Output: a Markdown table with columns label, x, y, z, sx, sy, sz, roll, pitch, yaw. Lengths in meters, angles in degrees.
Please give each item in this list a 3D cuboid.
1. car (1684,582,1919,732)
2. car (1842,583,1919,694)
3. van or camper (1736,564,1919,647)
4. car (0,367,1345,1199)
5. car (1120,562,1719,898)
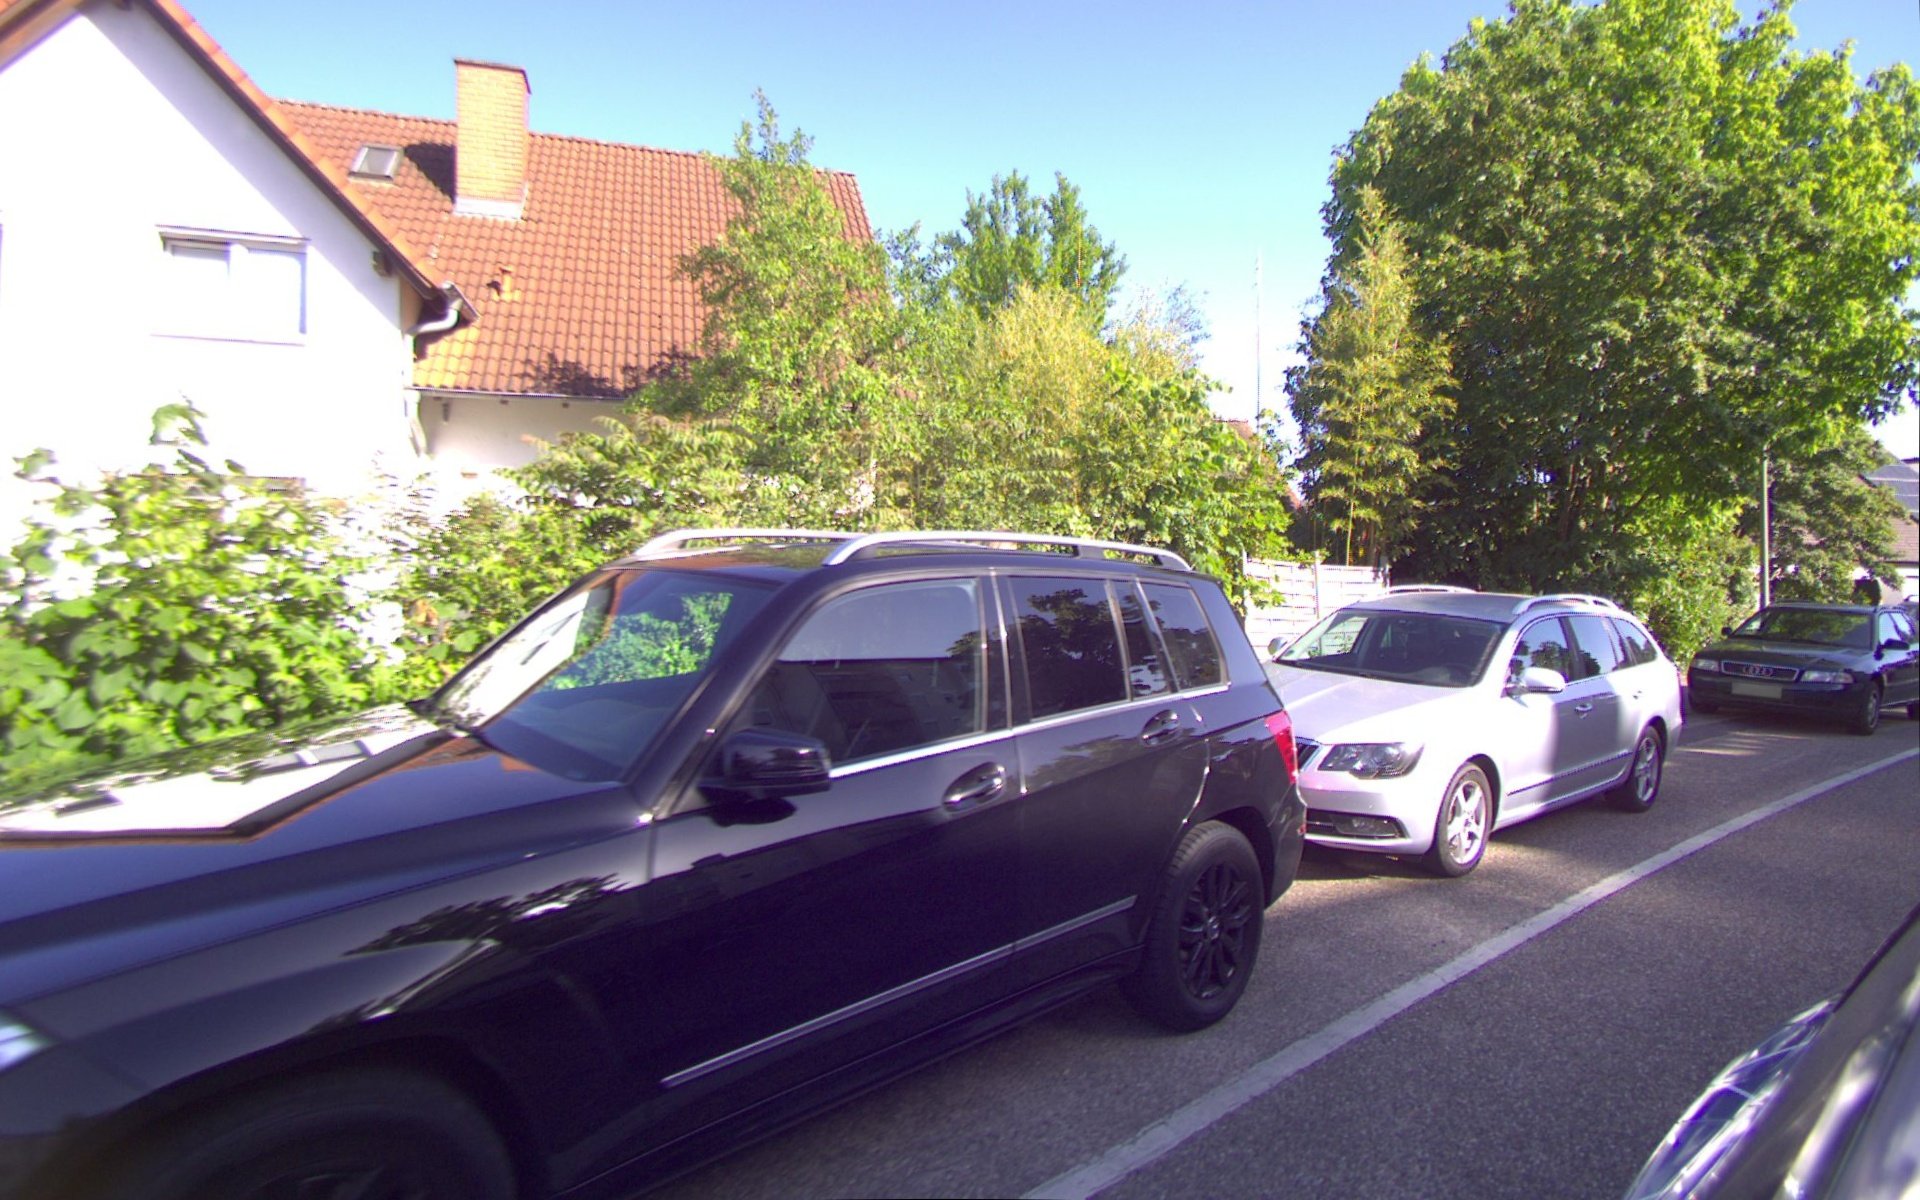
| label | x | y | z | sx | sy | sz | roll | pitch | yaw |
| --- | --- | --- | --- | --- | --- | --- | --- | --- | --- |
| car | 10.887 | 0.599 | 12.600 | 4.379 | 1.583 | 1.659 | 0 | 0 | -34 |
| car | 15.656 | 0.580 | 15.803 | 3.921 | 1.593 | 1.726 | 0 | 2 | -32 |
| van or camper | 23.267 | 0.125 | 26.855 | 1.909 | 2.039 | 3.861 | 0 | 0 | -16 |
| car | -0.652 | 0.539 | 3.127 | 4.321 | 1.697 | 1.764 | 0 | 0 | -44 |
| car | 3.323 | 0.611 | 6.869 | 4.576 | 1.583 | 1.767 | 0 | 0 | -37 |
